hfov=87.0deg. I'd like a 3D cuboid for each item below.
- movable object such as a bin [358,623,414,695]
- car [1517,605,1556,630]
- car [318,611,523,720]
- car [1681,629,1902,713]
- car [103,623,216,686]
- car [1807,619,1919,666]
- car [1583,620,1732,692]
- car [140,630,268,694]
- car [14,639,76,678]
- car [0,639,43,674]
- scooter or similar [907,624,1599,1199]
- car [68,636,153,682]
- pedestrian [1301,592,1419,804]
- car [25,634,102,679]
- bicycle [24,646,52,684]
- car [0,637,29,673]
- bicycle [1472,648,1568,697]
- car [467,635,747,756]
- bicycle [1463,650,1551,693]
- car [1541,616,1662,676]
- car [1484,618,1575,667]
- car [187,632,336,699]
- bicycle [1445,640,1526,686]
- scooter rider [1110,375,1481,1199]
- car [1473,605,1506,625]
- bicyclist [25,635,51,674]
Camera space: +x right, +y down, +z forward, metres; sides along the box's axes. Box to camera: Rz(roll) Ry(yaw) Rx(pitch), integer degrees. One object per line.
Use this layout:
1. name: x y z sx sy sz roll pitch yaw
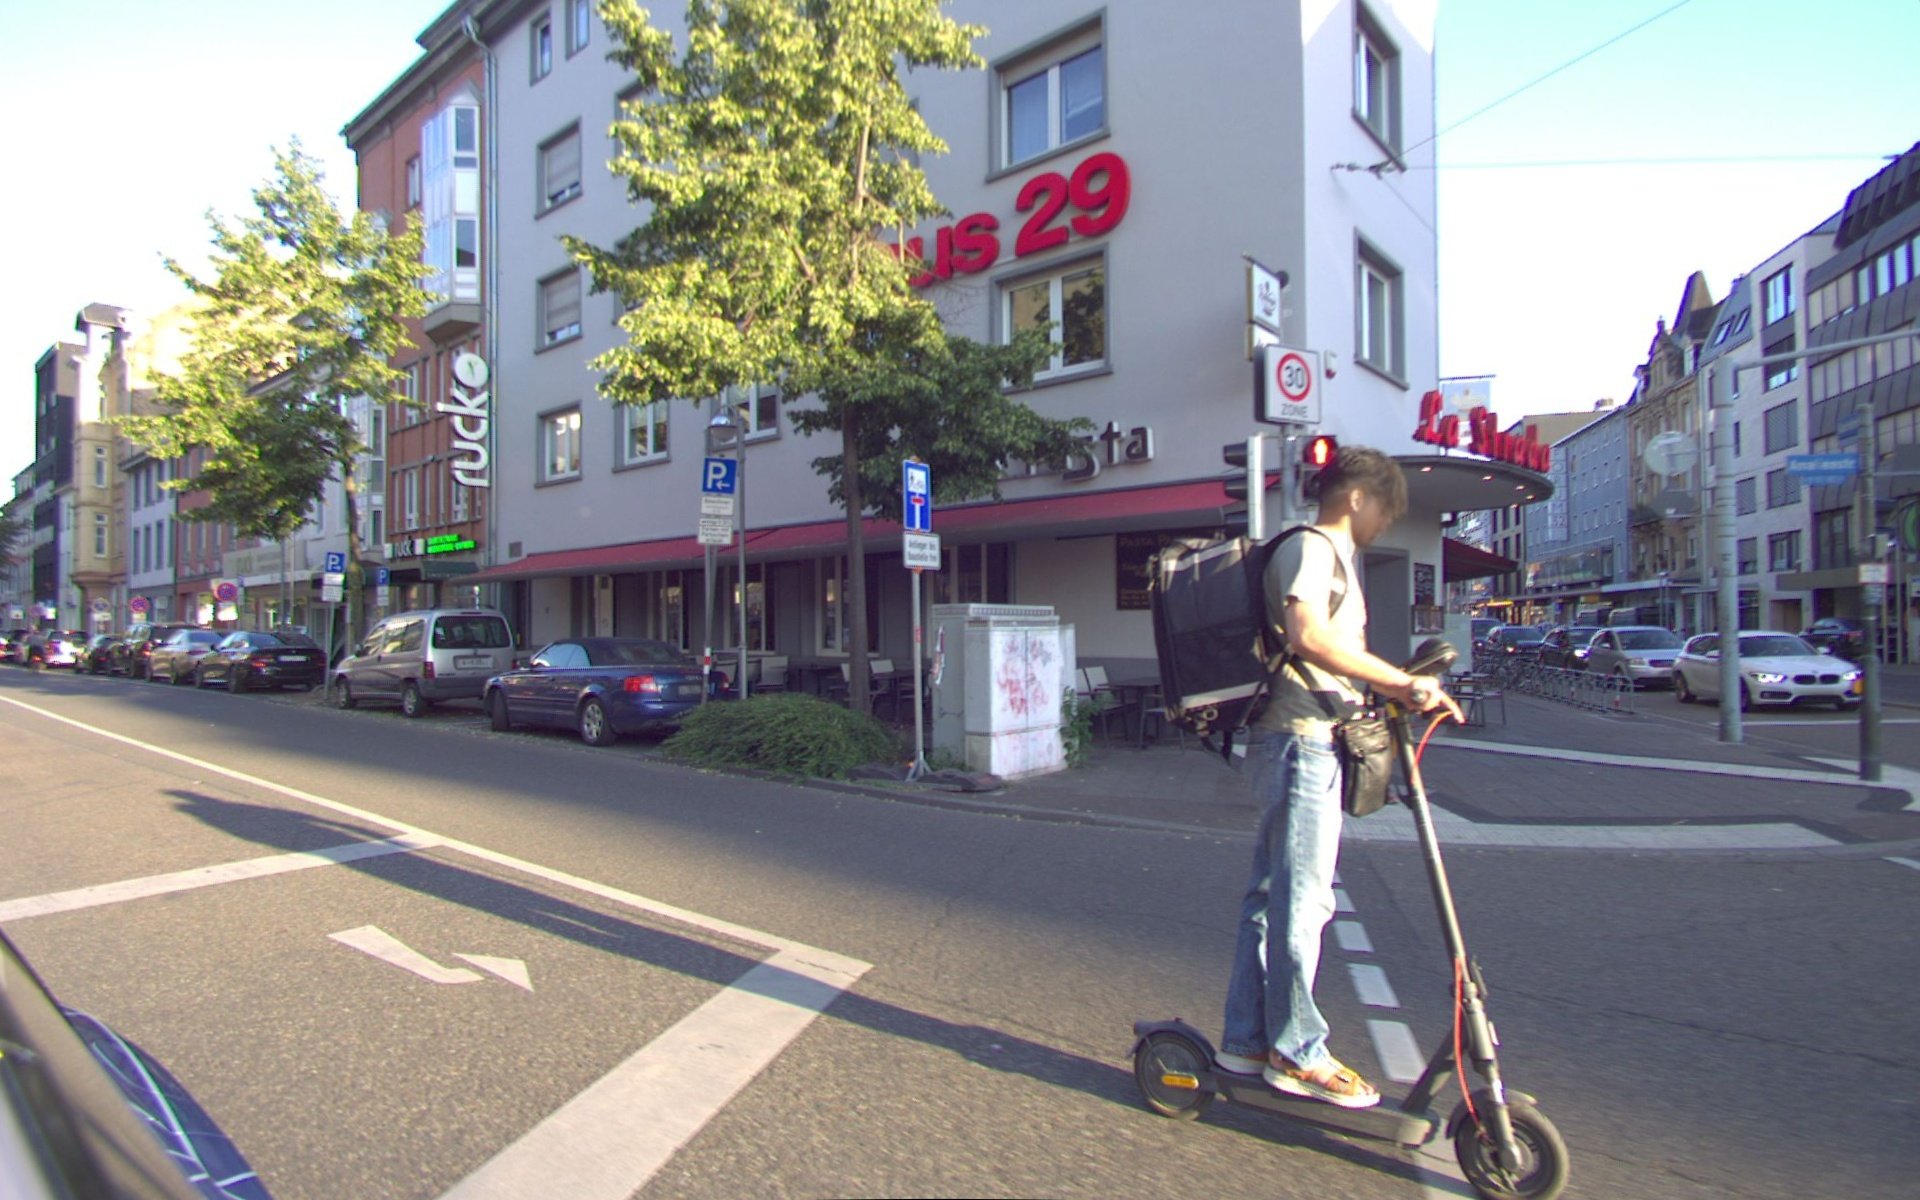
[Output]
1. movable object such as a bin: -12.907 1.322 22.763 1.100 1.547 0.738 -3 -1 40
2. car: 47.427 1.459 83.385 1.818 1.932 3.980 -1 0 16
3. car: -9.622 1.074 17.940 3.994 1.676 1.699 -1 0 37
4. car: 15.195 1.255 18.773 1.901 1.369 3.721 -3 -2 19
5. car: -25.864 1.737 32.636 4.944 1.898 1.948 -3 -3 40
6. car: 34.382 1.581 38.504 1.805 1.569 3.979 -1 0 16
7. car: 16.980 1.318 24.876 1.985 1.490 3.975 -1 0 19
8. car: -20.879 1.659 27.872 4.942 1.612 1.870 -2 -3 42
9. car: -41.078 2.575 45.431 3.515 1.602 1.664 -1 -1 41
10. car: -44.491 2.629 47.419 3.775 1.524 1.768 -1 -1 40
11. scooter or similar: 0.718 0.763 2.772 1.660 1.361 0.541 -2 -2 27
12. car: -30.625 2.096 36.455 3.840 1.536 1.714 -2 -2 41
13. pedestrian: 3.282 0.786 8.358 0.792 1.668 0.584 -1 -2 13
14. car: -37.228 2.291 42.004 4.137 1.741 1.852 -1 -1 40
15. bicycle: -31.868 2.241 34.974 1.692 1.246 0.415 -1 0 38
16. car: -47.832 2.729 50.273 4.034 1.689 1.857 -1 0 40
17. bicycle: 12.484 1.601 22.580 1.809 1.039 0.442 0 -2 11
18. car: -4.929 1.189 13.842 4.308 1.363 1.632 -1 -2 40
19. bicycle: 12.839 1.678 23.792 1.743 0.956 0.442 0 0 11
20. car: 18.894 1.333 30.027 1.983 1.652 3.977 -1 -2 17
21. car: 20.242 1.496 36.159 1.983 1.652 3.977 -1 -2 17
22. car: -16.687 1.495 24.101 4.413 1.403 1.781 -1 -1 40
23. bicycle: 13.083 1.565 25.221 1.743 1.079 0.442 0 0 11
24. scooter rider: 0.918 0.436 2.679 0.784 1.821 0.806 -1 0 27
25. car: 49.555 1.392 94.756 1.789 1.761 3.821 -1 0 13
26. bicyclist: -31.905 1.880 35.009 0.660 1.312 0.562 -1 0 39
